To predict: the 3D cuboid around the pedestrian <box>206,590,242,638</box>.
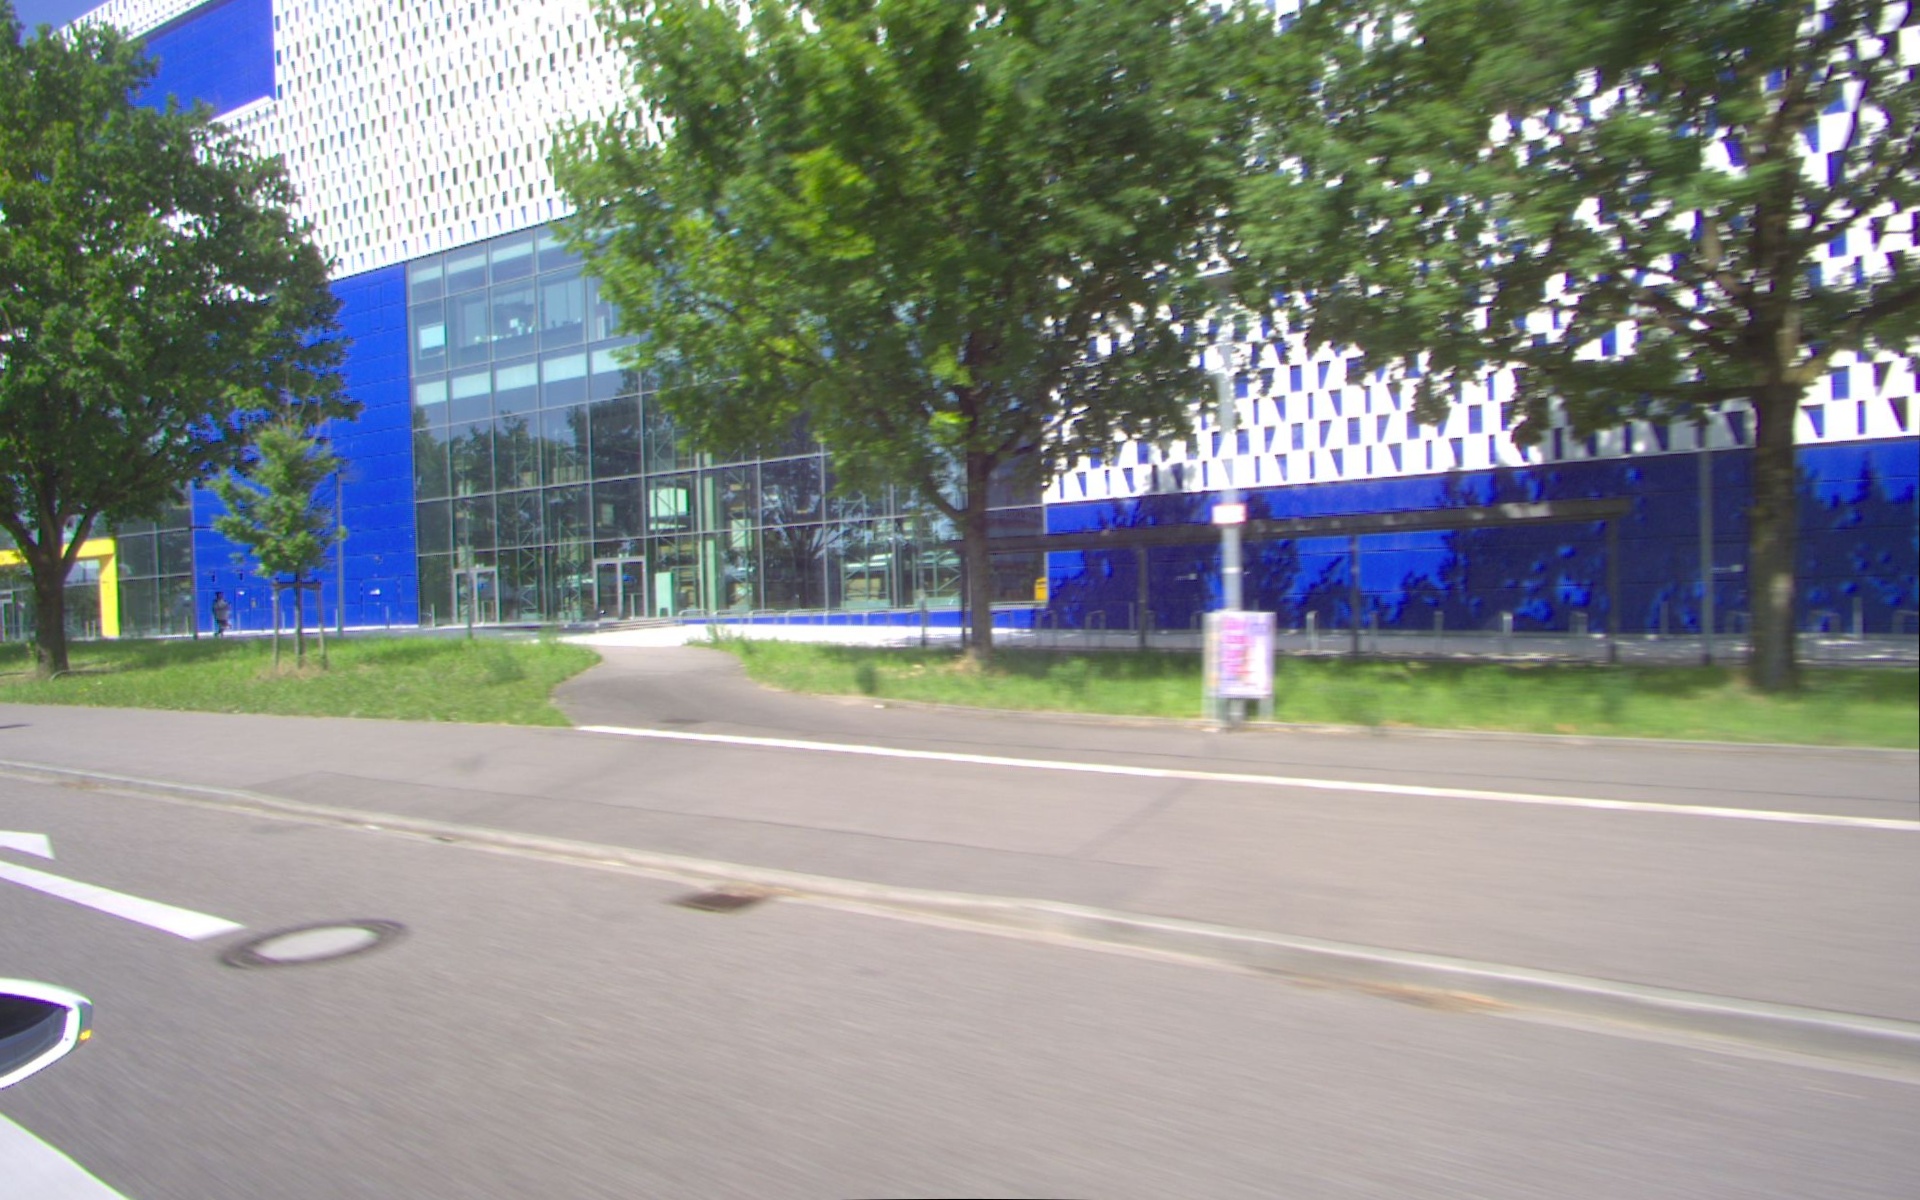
[{"bbox_3d":[-25.510,0.486,34.703,0.758,1.634,0.688,0,1,24],"label":"pedestrian"}]
